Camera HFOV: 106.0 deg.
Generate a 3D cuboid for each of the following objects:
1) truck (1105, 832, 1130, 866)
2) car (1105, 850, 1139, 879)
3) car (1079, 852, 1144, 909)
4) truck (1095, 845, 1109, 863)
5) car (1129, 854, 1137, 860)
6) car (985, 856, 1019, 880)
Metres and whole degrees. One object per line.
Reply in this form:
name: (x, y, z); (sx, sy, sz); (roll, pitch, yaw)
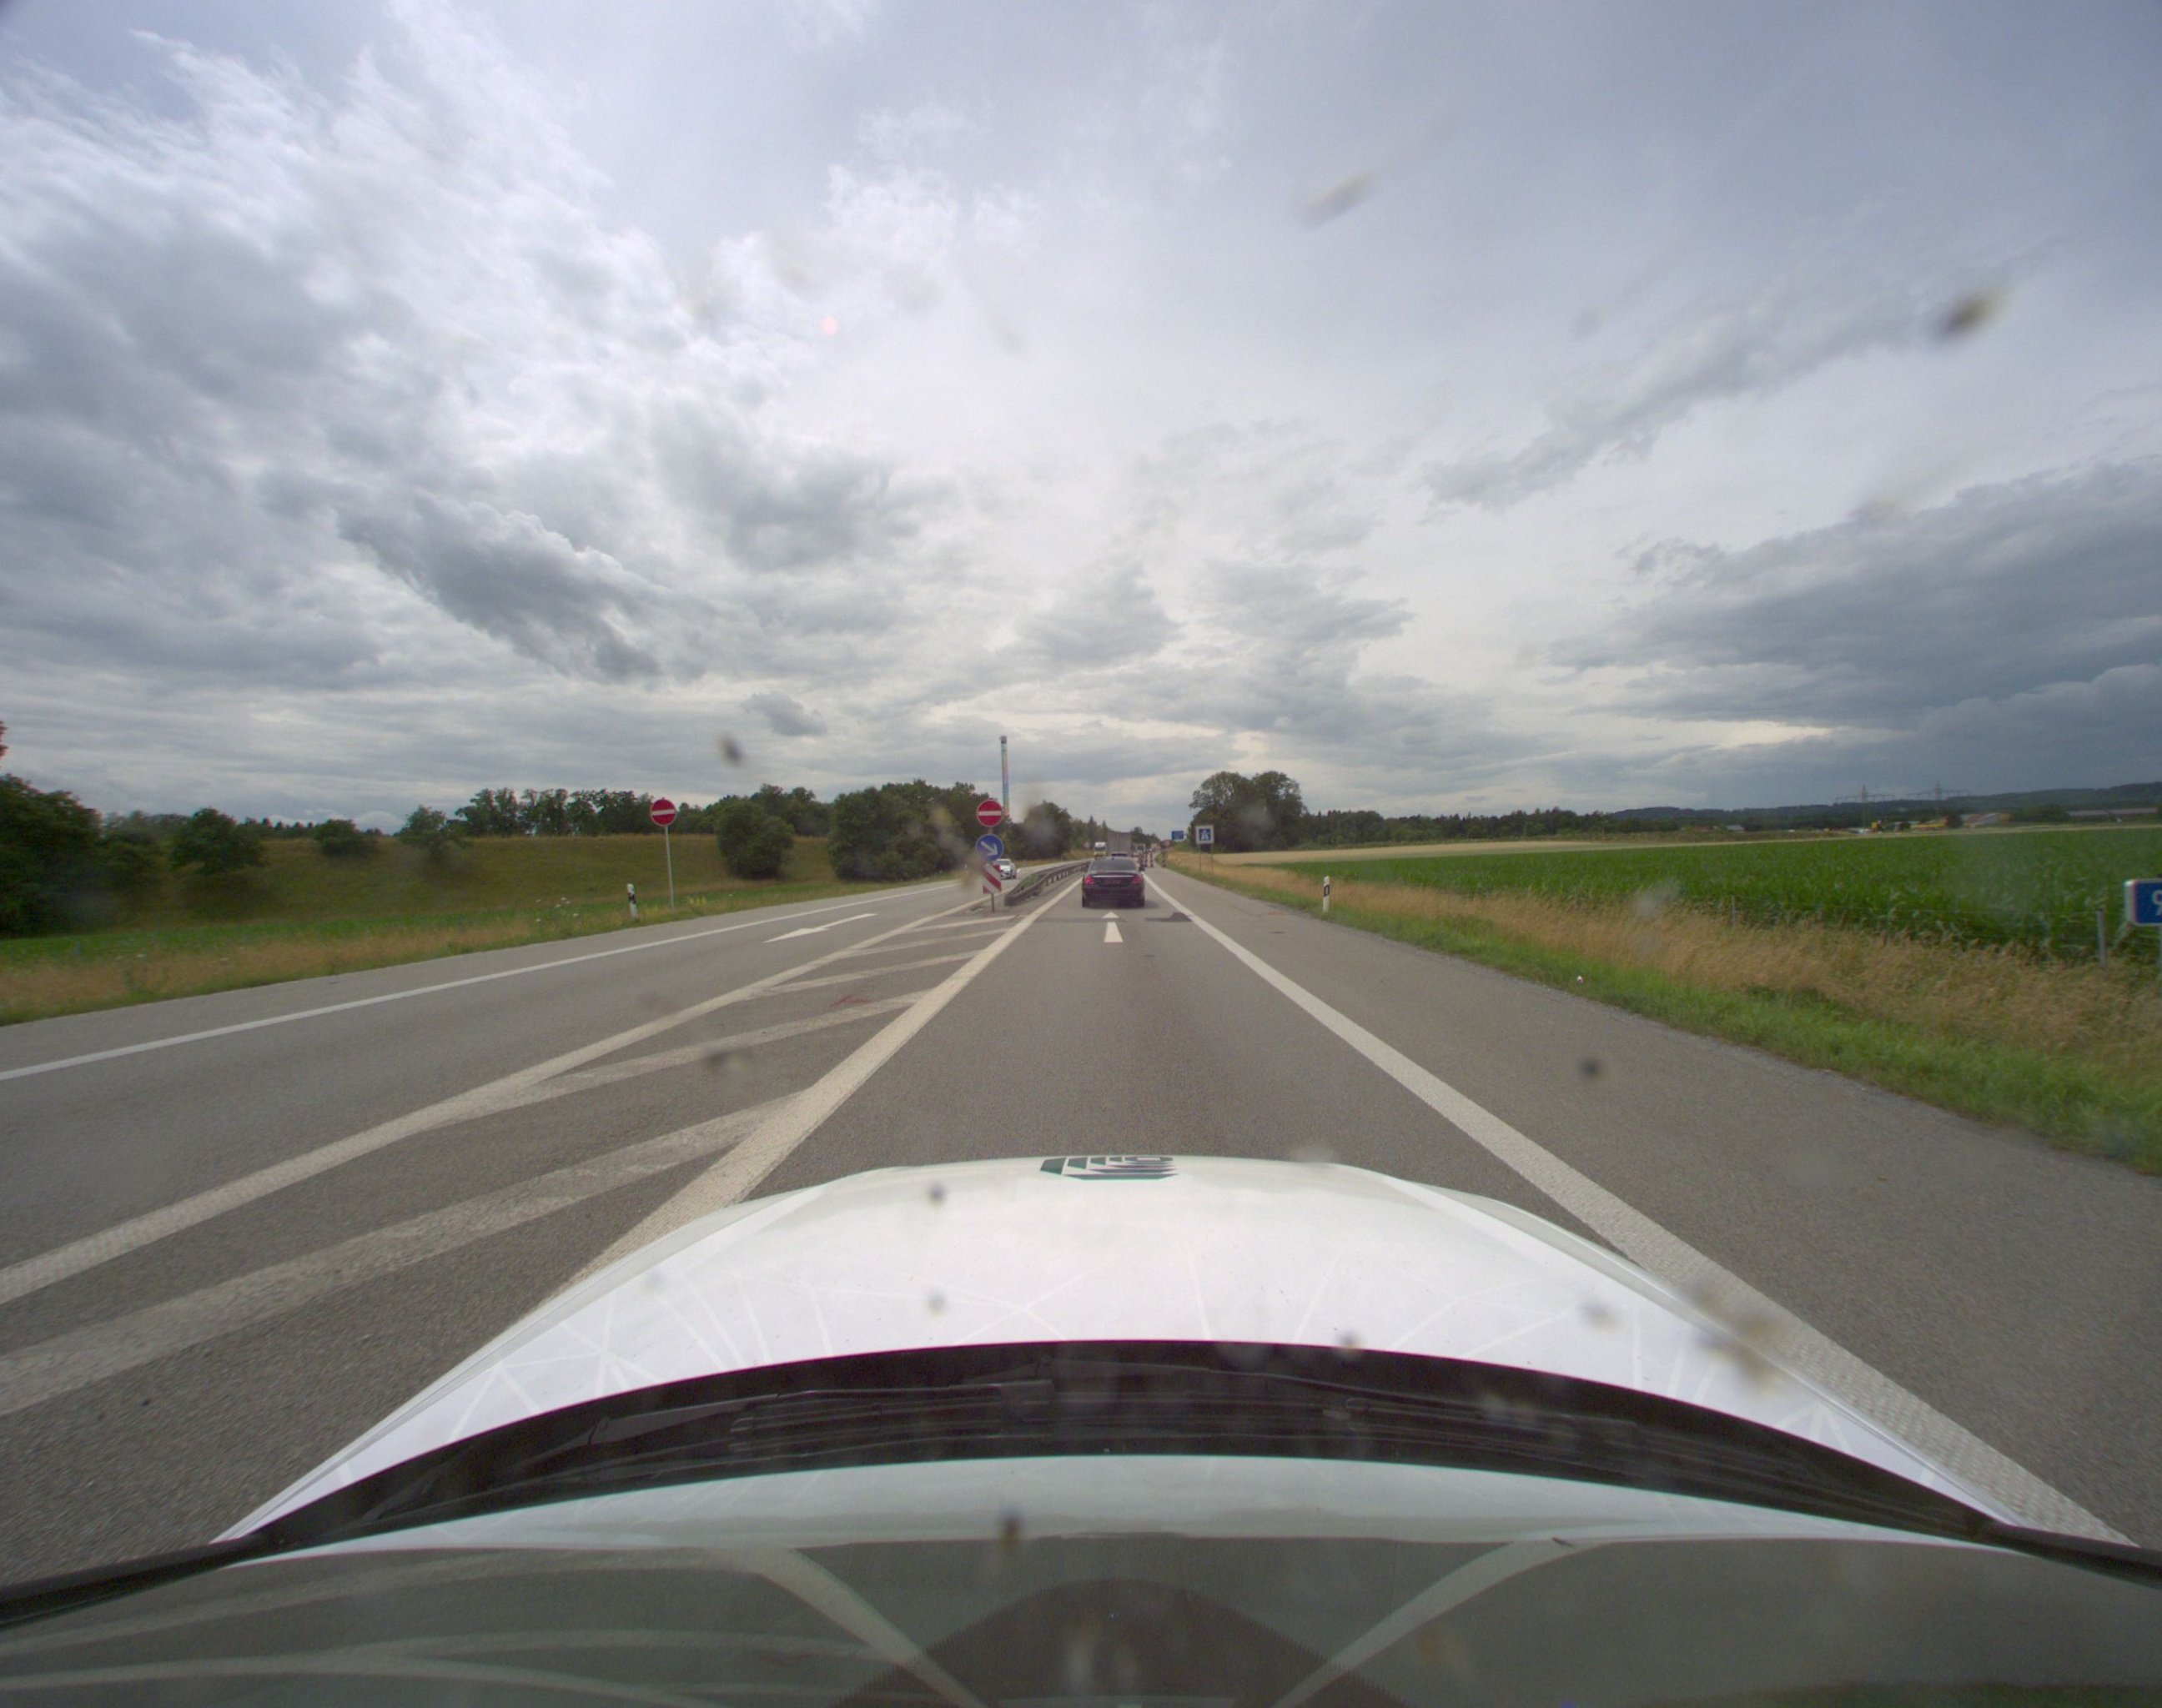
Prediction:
truck: (3.918, -0.464, 87.078); (2.576, 3.525, 4.816); (0, -1, 3)
car: (2.962, 0.772, 59.548); (1.990, 2.014, 3.993); (0, -1, -5)
car: (0.936, 0.765, 24.574); (1.789, 1.560, 4.002); (0, -1, 2)
truck: (4.932, 0.088, 190.154); (2.787, 4.142, 7.235); (0, -1, 4)
car: (12.893, 0.799, 201.220); (1.644, 1.396, 3.705); (0, -1, 0)
car: (-5.609, 1.015, 58.410); (1.810, 1.632, 4.604); (0, -1, 2)
